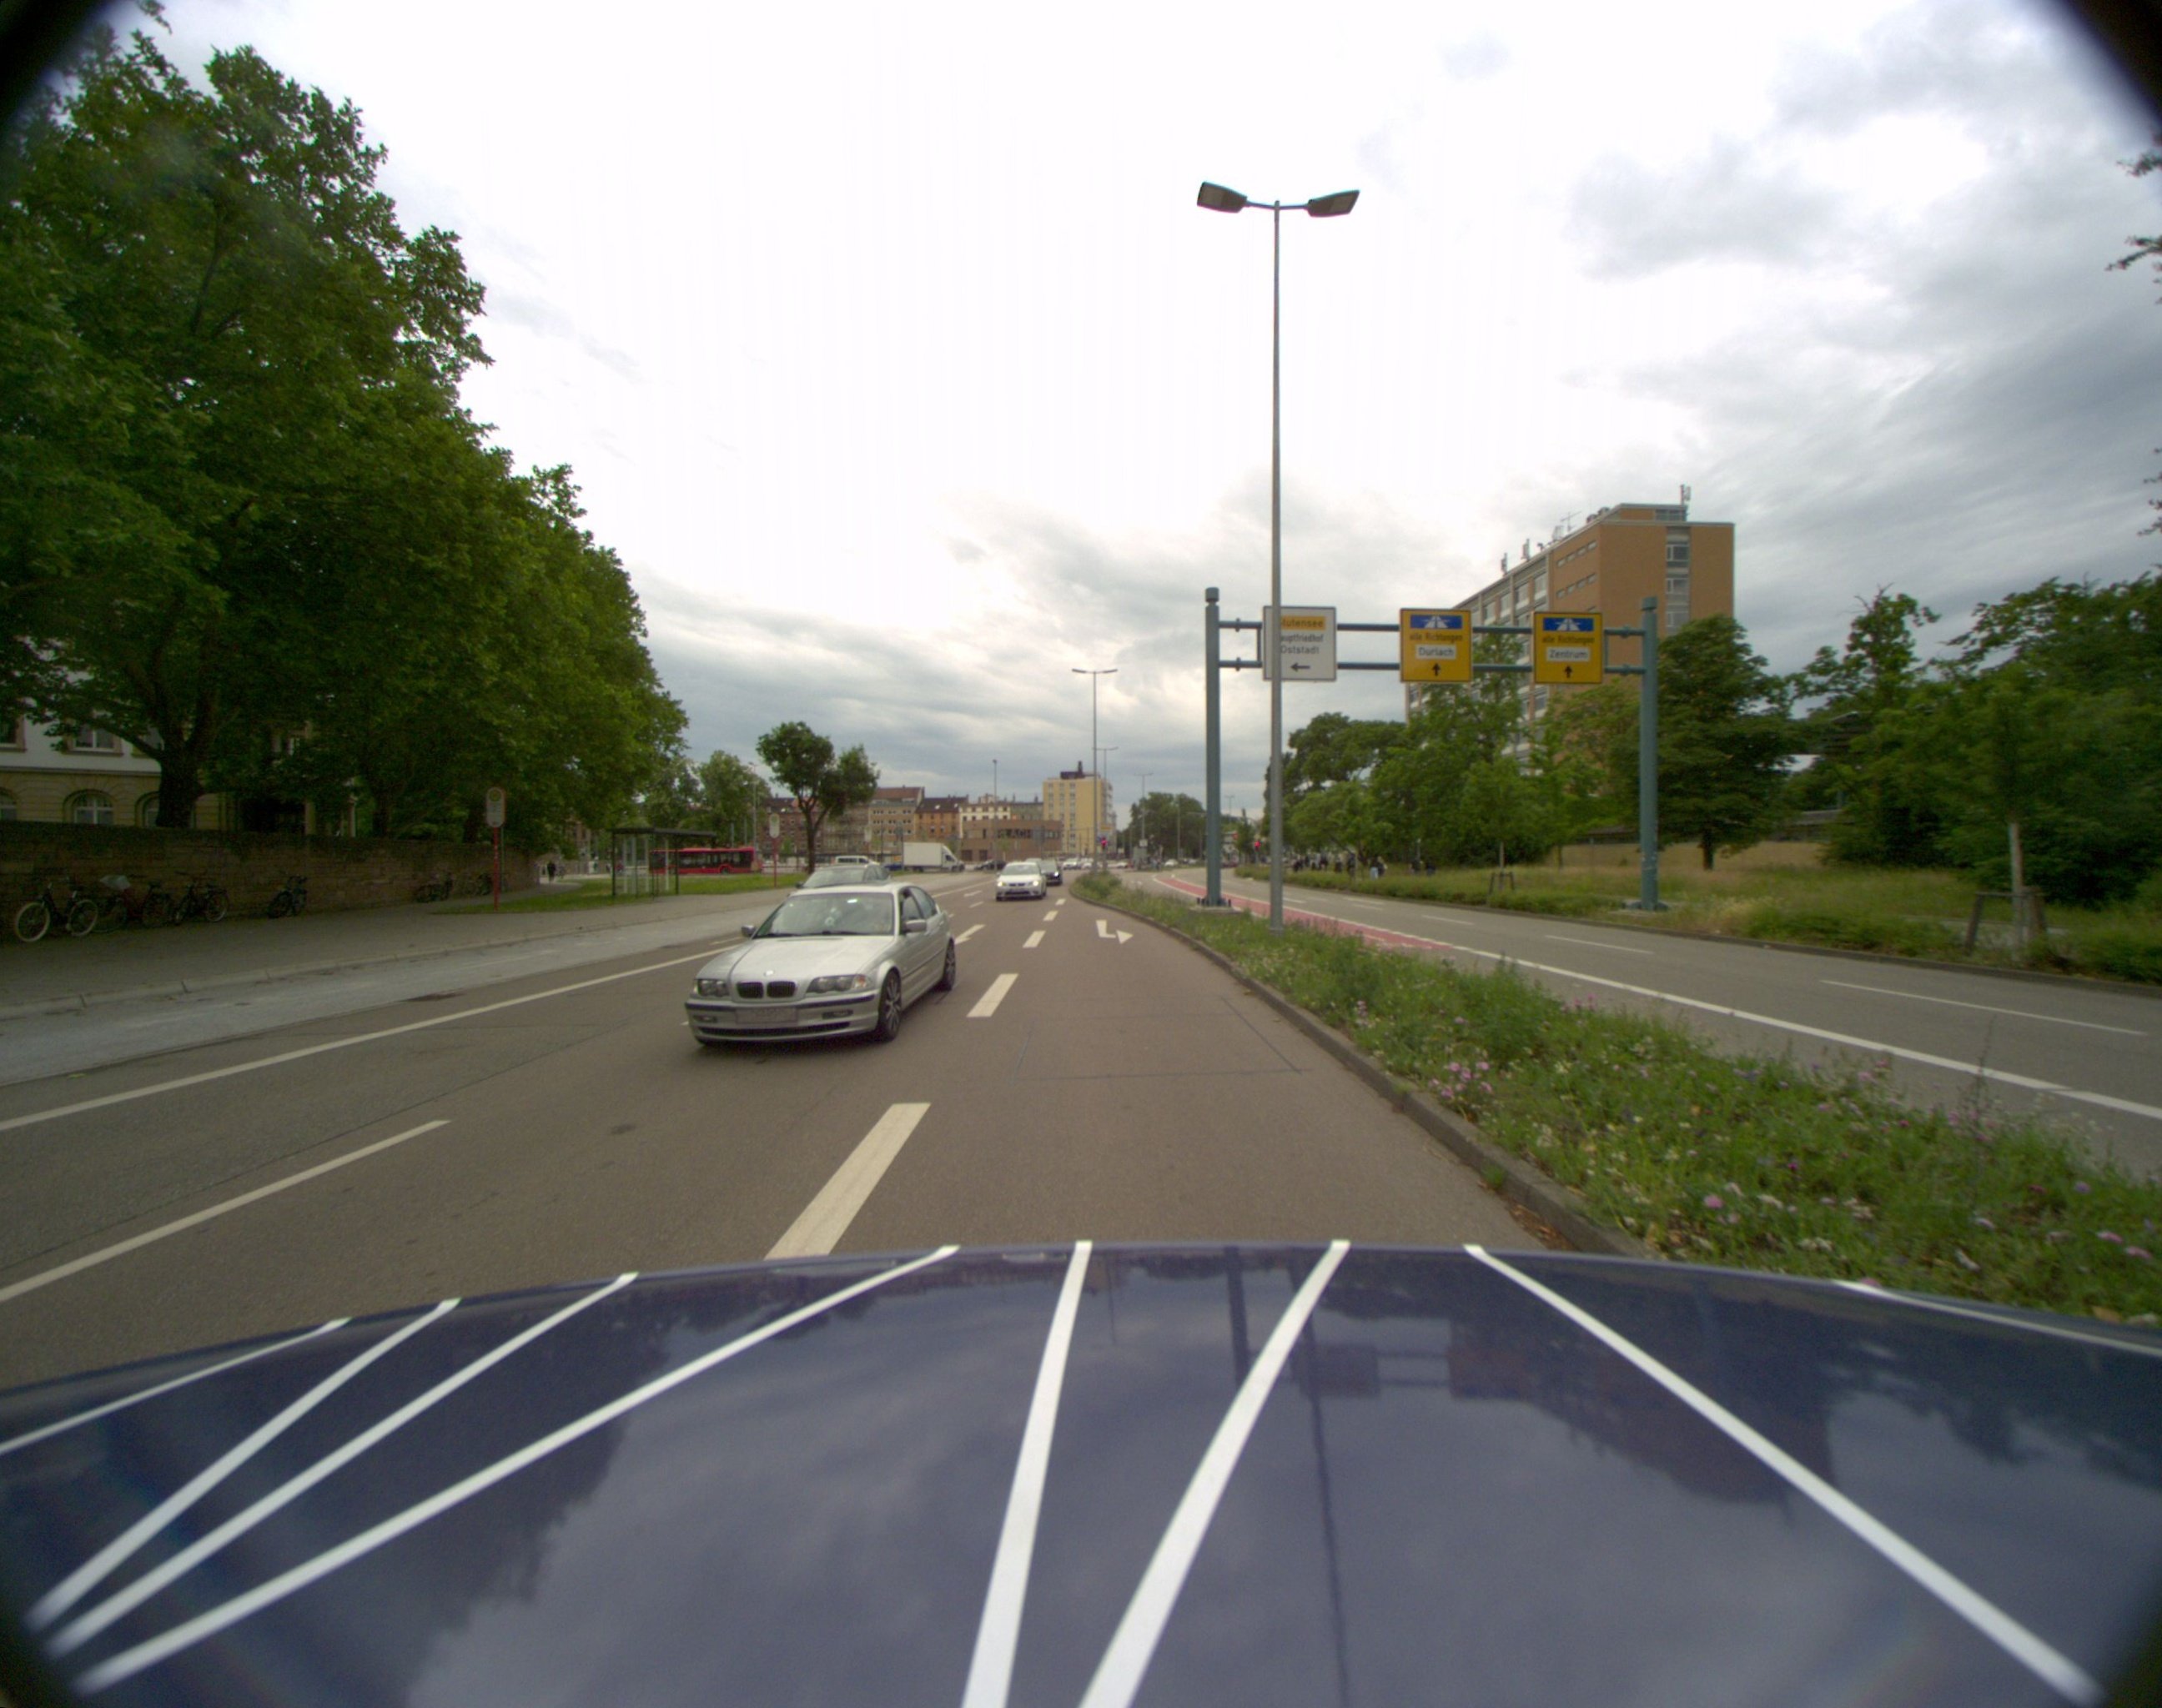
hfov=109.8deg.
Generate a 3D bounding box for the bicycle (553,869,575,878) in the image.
[{"bbox_3d":[-53.569,2.039,78.756,1.695,0.910,0.767,1,0,-10],"label":"bicycle"}]

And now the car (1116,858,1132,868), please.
[{"bbox_3d":[7.346,1.564,130.172,1.835,1.753,3.917,1,0,18],"label":"car"}]

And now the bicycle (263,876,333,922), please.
[{"bbox_3d":[-20.545,1.158,19.969,0.599,1.098,1.652,1,0,-19],"label":"bicycle"}]

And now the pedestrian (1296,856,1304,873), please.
[{"bbox_3d":[22.404,1.086,77.746,0.638,1.790,0.762,-1,0,4],"label":"pedestrian"}]

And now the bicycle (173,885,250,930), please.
[{"bbox_3d":[-20.110,1.216,17.605,0.417,0.937,1.523,1,0,-17],"label":"bicycle"}]

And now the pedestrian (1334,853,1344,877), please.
[{"bbox_3d":[17.681,0.759,52.036,0.575,1.599,0.617,1,0,16],"label":"pedestrian"}]

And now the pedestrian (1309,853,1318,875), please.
[{"bbox_3d":[18.692,0.801,61.151,0.622,1.685,0.747,1,0,13],"label":"pedestrian"}]

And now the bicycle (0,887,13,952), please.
[{"bbox_3d":[-18.426,1.120,12.225,0.722,1.093,1.788,1,0,-28],"label":"bicycle"}]

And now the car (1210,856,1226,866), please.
[{"bbox_3d":[23.077,1.196,127.846,1.812,1.657,3.955,1,1,23],"label":"car"}]

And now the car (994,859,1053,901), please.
[{"bbox_3d":[-2.202,0.980,30.026,1.785,1.454,3.871,-1,0,3],"label":"car"}]

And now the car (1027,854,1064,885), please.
[{"bbox_3d":[-1.991,0.849,43.496,1.888,1.591,4.446,-3,0,-1],"label":"car"}]

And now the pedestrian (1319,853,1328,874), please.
[{"bbox_3d":[19.533,0.780,61.262,0.579,1.702,0.762,1,0,12],"label":"pedestrian"}]

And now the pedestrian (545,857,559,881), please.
[{"bbox_3d":[-38.549,1.109,55.408,0.759,1.725,0.821,1,0,-39],"label":"pedestrian"}]

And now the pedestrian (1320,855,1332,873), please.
[{"bbox_3d":[21.594,0.901,66.942,0.635,1.603,0.829,-2,0,-21],"label":"pedestrian"}]

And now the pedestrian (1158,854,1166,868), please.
[{"bbox_3d":[10.621,0.871,99.386,0.769,1.794,0.739,1,0,-21],"label":"pedestrian"}]

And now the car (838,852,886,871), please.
[{"bbox_3d":[-23.877,0.849,82.947,4.712,1.909,1.919,-1,3,-3],"label":"car"}]

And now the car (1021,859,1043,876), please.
[{"bbox_3d":[-4.443,1.198,69.142,1.671,1.457,3.660,-1,0,0],"label":"car"}]

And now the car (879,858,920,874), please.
[{"bbox_3d":[-20.979,1.353,87.991,4.431,1.735,1.763,1,0,-8],"label":"car"}]

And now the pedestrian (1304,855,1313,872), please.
[{"bbox_3d":[20.147,0.871,67.235,0.637,1.471,0.762,1,0,4],"label":"pedestrian"}]

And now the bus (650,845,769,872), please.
[{"bbox_3d":[-42.480,0.490,87.191,12.091,2.890,2.937,-1,0,-3],"label":"bus"}]

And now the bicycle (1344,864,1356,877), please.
[{"bbox_3d":[18.424,1.142,52.025,0.661,0.882,1.717,1,0,16],"label":"bicycle"}]

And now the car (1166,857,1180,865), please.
[{"bbox_3d":[18.481,1.452,152.318,1.801,1.586,3.766,1,0,25],"label":"car"}]

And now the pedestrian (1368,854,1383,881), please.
[{"bbox_3d":[18.306,0.812,47.265,0.587,1.650,0.720,1,0,-5],"label":"pedestrian"}]

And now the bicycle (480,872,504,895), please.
[{"bbox_3d":[-26.335,1.306,34.002,0.552,0.986,1.633,1,0,-28],"label":"bicycle"}]

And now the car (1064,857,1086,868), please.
[{"bbox_3d":[-0.828,1.178,105.694,1.816,1.466,4.039,1,0,20],"label":"car"}]

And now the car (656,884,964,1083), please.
[{"bbox_3d":[-2.489,1.113,8.183,1.726,1.406,4.246,-2,0,0],"label":"car"}]

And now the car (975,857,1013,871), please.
[{"bbox_3d":[-10.408,1.254,91.102,4.294,1.628,1.685,1,0,-35],"label":"car"}]

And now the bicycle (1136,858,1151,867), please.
[{"bbox_3d":[8.219,1.098,100.322,2.005,1.136,0.807,1,0,2],"label":"bicycle"}]

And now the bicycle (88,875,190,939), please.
[{"bbox_3d":[-19.578,1.070,15.843,0.501,1.214,1.624,1,0,-17],"label":"bicycle"}]

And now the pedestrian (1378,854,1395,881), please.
[{"bbox_3d":[18.989,0.832,47.266,0.709,1.662,0.767,1,0,-5],"label":"pedestrian"}]

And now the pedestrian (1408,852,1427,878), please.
[{"bbox_3d":[17.786,0.584,40.190,0.646,1.350,0.711,1,0,-1],"label":"pedestrian"}]

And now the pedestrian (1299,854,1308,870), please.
[{"bbox_3d":[23.984,0.851,81.762,0.708,1.661,0.890,-2,0,4],"label":"pedestrian"}]

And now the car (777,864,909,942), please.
[{"bbox_3d":[-5.843,1.133,19.284,1.912,1.615,4.490,-2,0,0],"label":"car"}]

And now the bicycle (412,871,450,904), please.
[{"bbox_3d":[-23.647,1.191,27.670,0.596,1.129,1.709,1,0,-25],"label":"bicycle"}]

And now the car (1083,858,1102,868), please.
[{"bbox_3d":[1.820,1.362,116.246,1.515,1.382,3.438,1,0,27],"label":"car"}]

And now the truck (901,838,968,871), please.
[{"bbox_3d":[-16.009,0.064,83.423,6.852,3.392,2.559,-1,2,-4],"label":"truck"}]

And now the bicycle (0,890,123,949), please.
[{"bbox_3d":[-19.032,1.189,14.104,0.656,0.945,1.767,1,0,-17],"label":"bicycle"}]

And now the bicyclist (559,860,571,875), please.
[{"bbox_3d":[-53.520,1.413,78.769,0.740,1.499,0.767,1,0,-10],"label":"bicyclist"}]

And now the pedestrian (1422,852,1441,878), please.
[{"bbox_3d":[18.603,0.598,40.340,0.646,1.354,0.680,1,0,-2],"label":"pedestrian"}]

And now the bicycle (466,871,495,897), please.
[{"bbox_3d":[-25.626,1.264,32.431,0.596,1.053,1.709,1,0,-25],"label":"bicycle"}]

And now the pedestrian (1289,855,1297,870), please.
[{"bbox_3d":[22.833,0.920,81.869,0.708,1.661,0.943,-1,0,4],"label":"pedestrian"}]

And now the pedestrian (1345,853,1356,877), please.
[{"bbox_3d":[18.430,0.720,52.024,0.661,1.622,0.764,1,0,16],"label":"pedestrian"}]

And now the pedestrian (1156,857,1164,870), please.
[{"bbox_3d":[10.169,1.251,97.933,0.777,1.657,0.706,1,0,-8],"label":"pedestrian"}]

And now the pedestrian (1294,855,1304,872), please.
[{"bbox_3d":[19.313,0.849,67.310,0.730,1.471,0.813,1,0,4],"label":"pedestrian"}]

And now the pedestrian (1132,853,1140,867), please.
[{"bbox_3d":[7.091,0.820,97.338,0.917,1.794,0.541,1,0,17],"label":"pedestrian"}]

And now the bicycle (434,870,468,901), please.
[{"bbox_3d":[-24.266,1.198,29.292,0.596,1.122,1.709,1,0,-25],"label":"bicycle"}]

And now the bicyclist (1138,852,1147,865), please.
[{"bbox_3d":[8.152,0.623,100.316,1.191,1.725,0.807,1,0,2],"label":"bicyclist"}]
